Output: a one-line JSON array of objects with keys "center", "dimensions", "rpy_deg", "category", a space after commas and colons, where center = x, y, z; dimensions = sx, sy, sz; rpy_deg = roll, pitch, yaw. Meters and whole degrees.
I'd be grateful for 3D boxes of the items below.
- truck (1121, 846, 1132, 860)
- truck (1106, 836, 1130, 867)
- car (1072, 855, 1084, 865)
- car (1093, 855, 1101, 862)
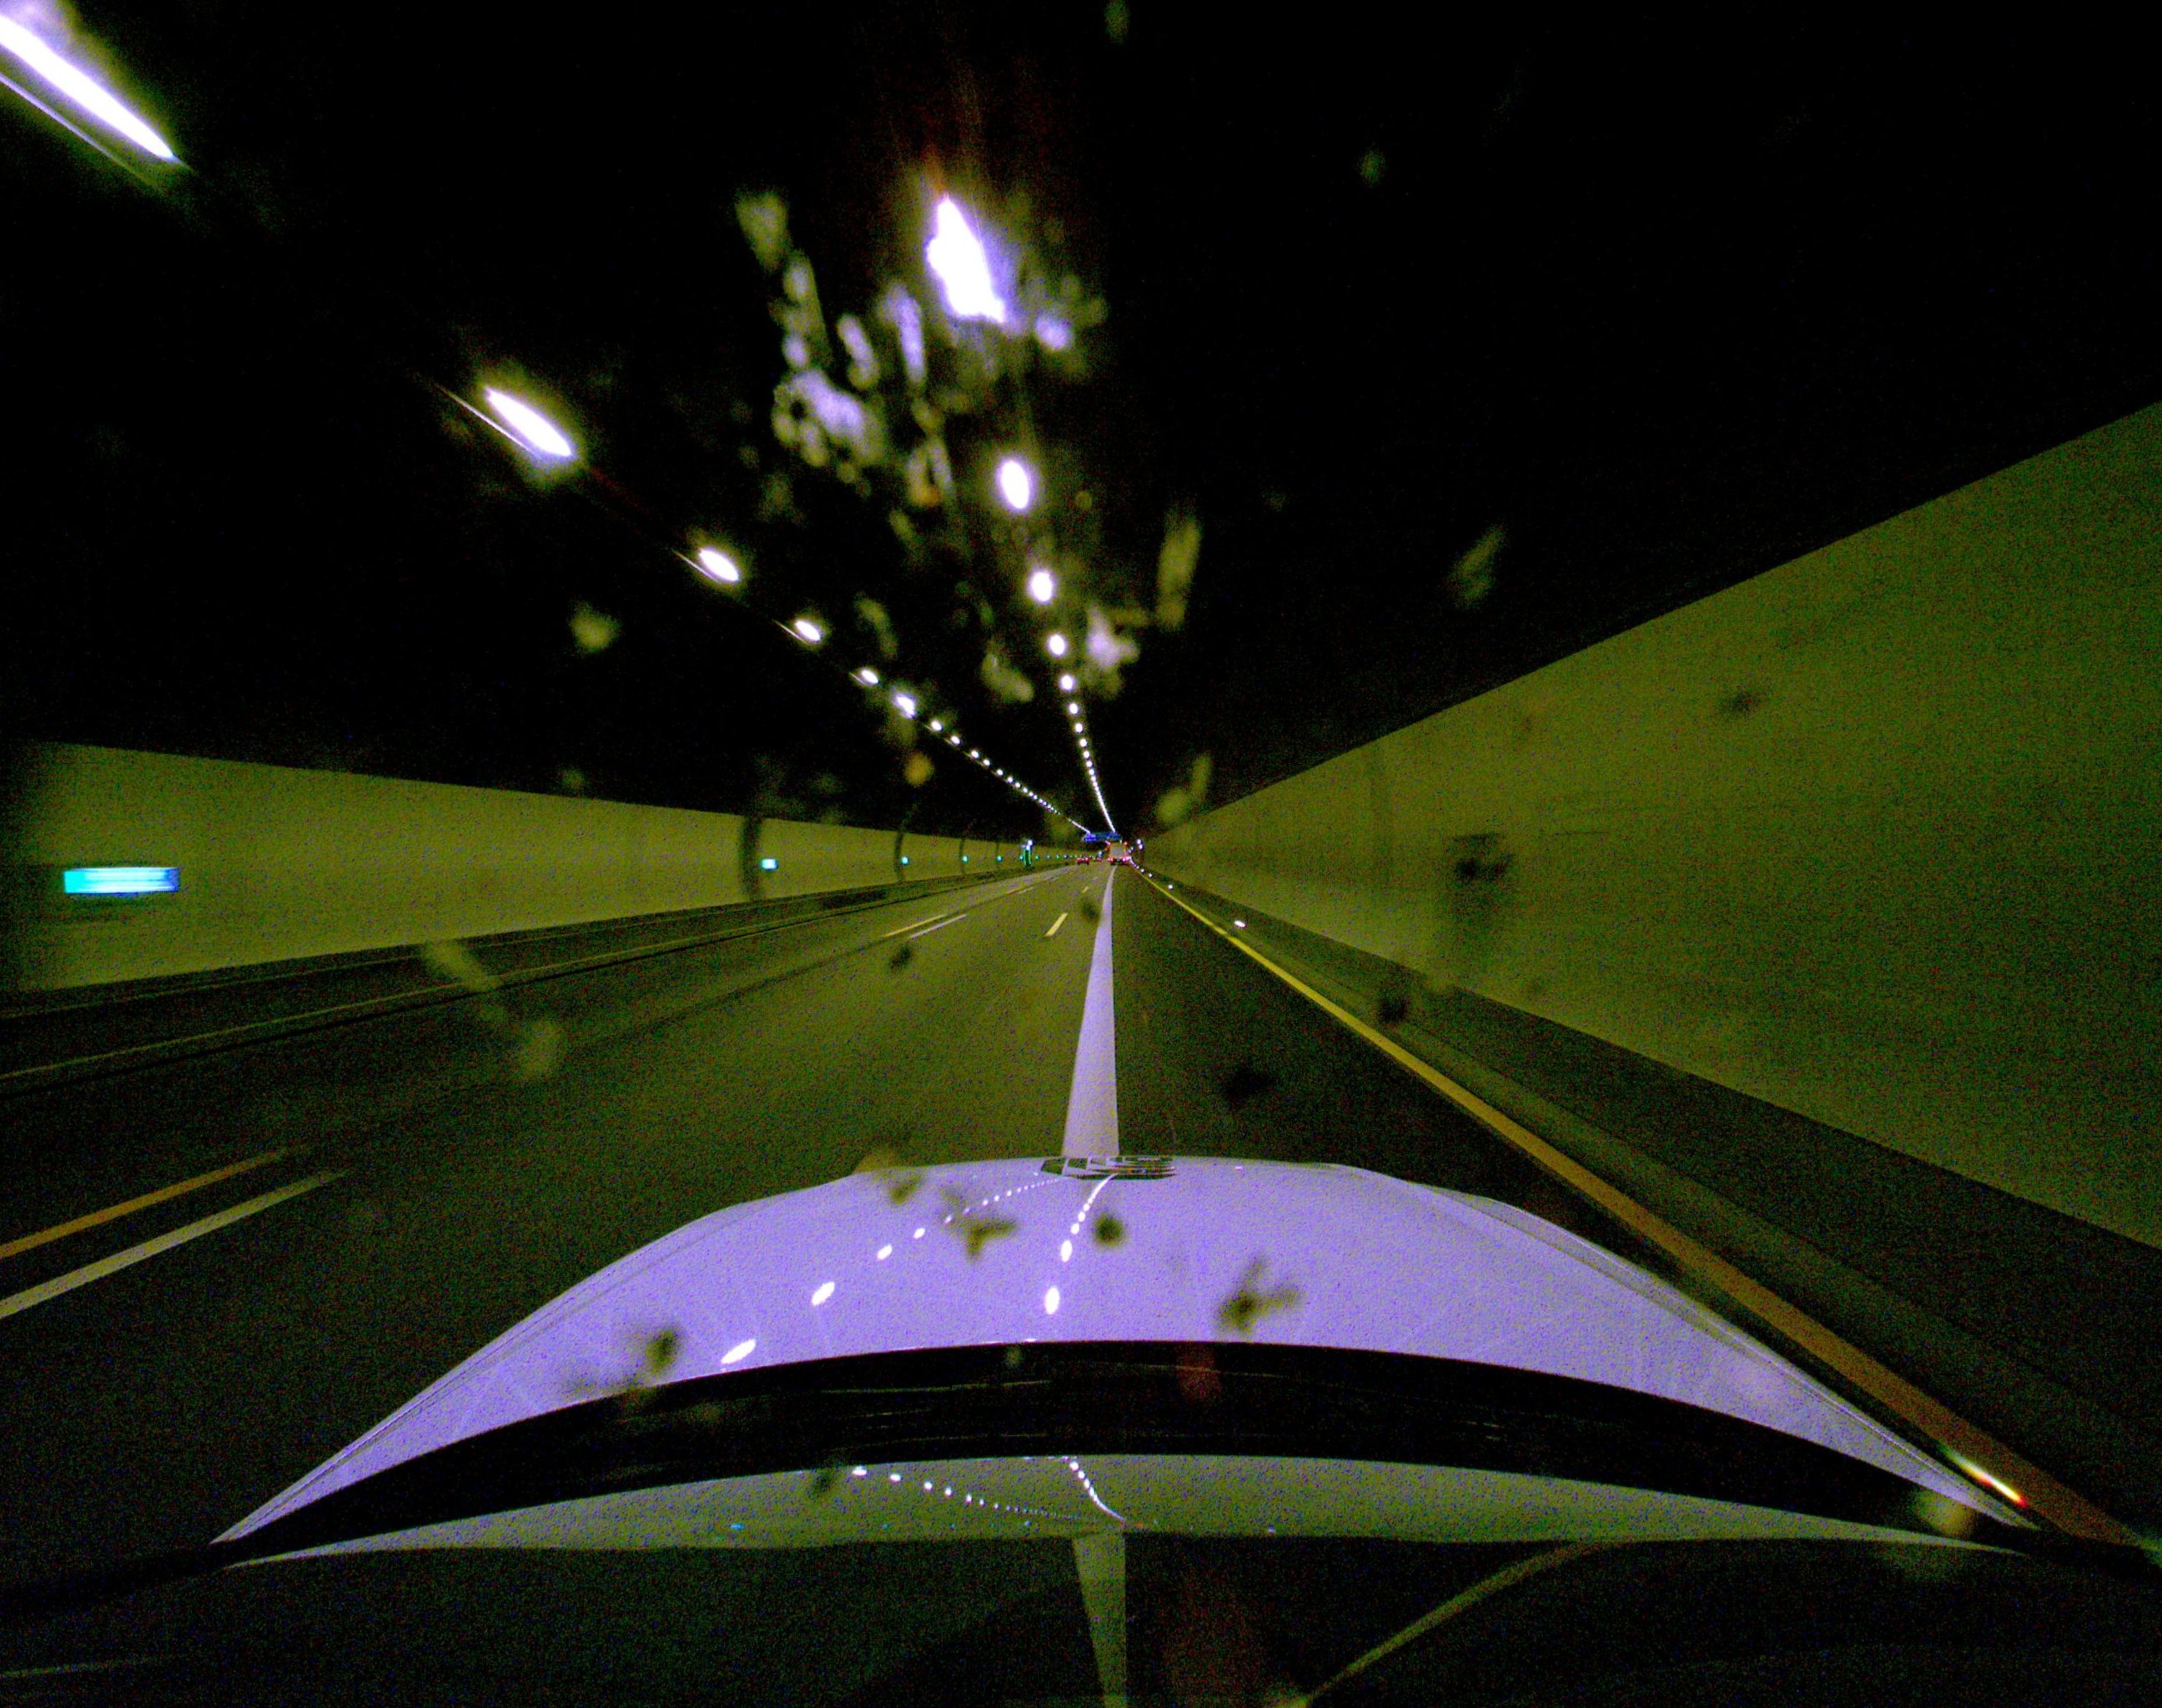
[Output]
[{"center": [13.980, -0.274, 249.421], "dimensions": [2.912, 4.048, 14.034], "rpy_deg": [-2, 0, 2], "category": "truck"}, {"center": [5.847, -0.358, 132.684], "dimensions": [3.267, 4.650, 17.289], "rpy_deg": [-2, 0, 1], "category": "truck"}, {"center": [-0.481, 0.960, 135.632], "dimensions": [1.806, 1.618, 4.000], "rpy_deg": [-1, 0, 1], "category": "car"}, {"center": [3.746, 0.957, 191.003], "dimensions": [1.807, 1.520, 3.999], "rpy_deg": [-1, 1, -1], "category": "car"}]
